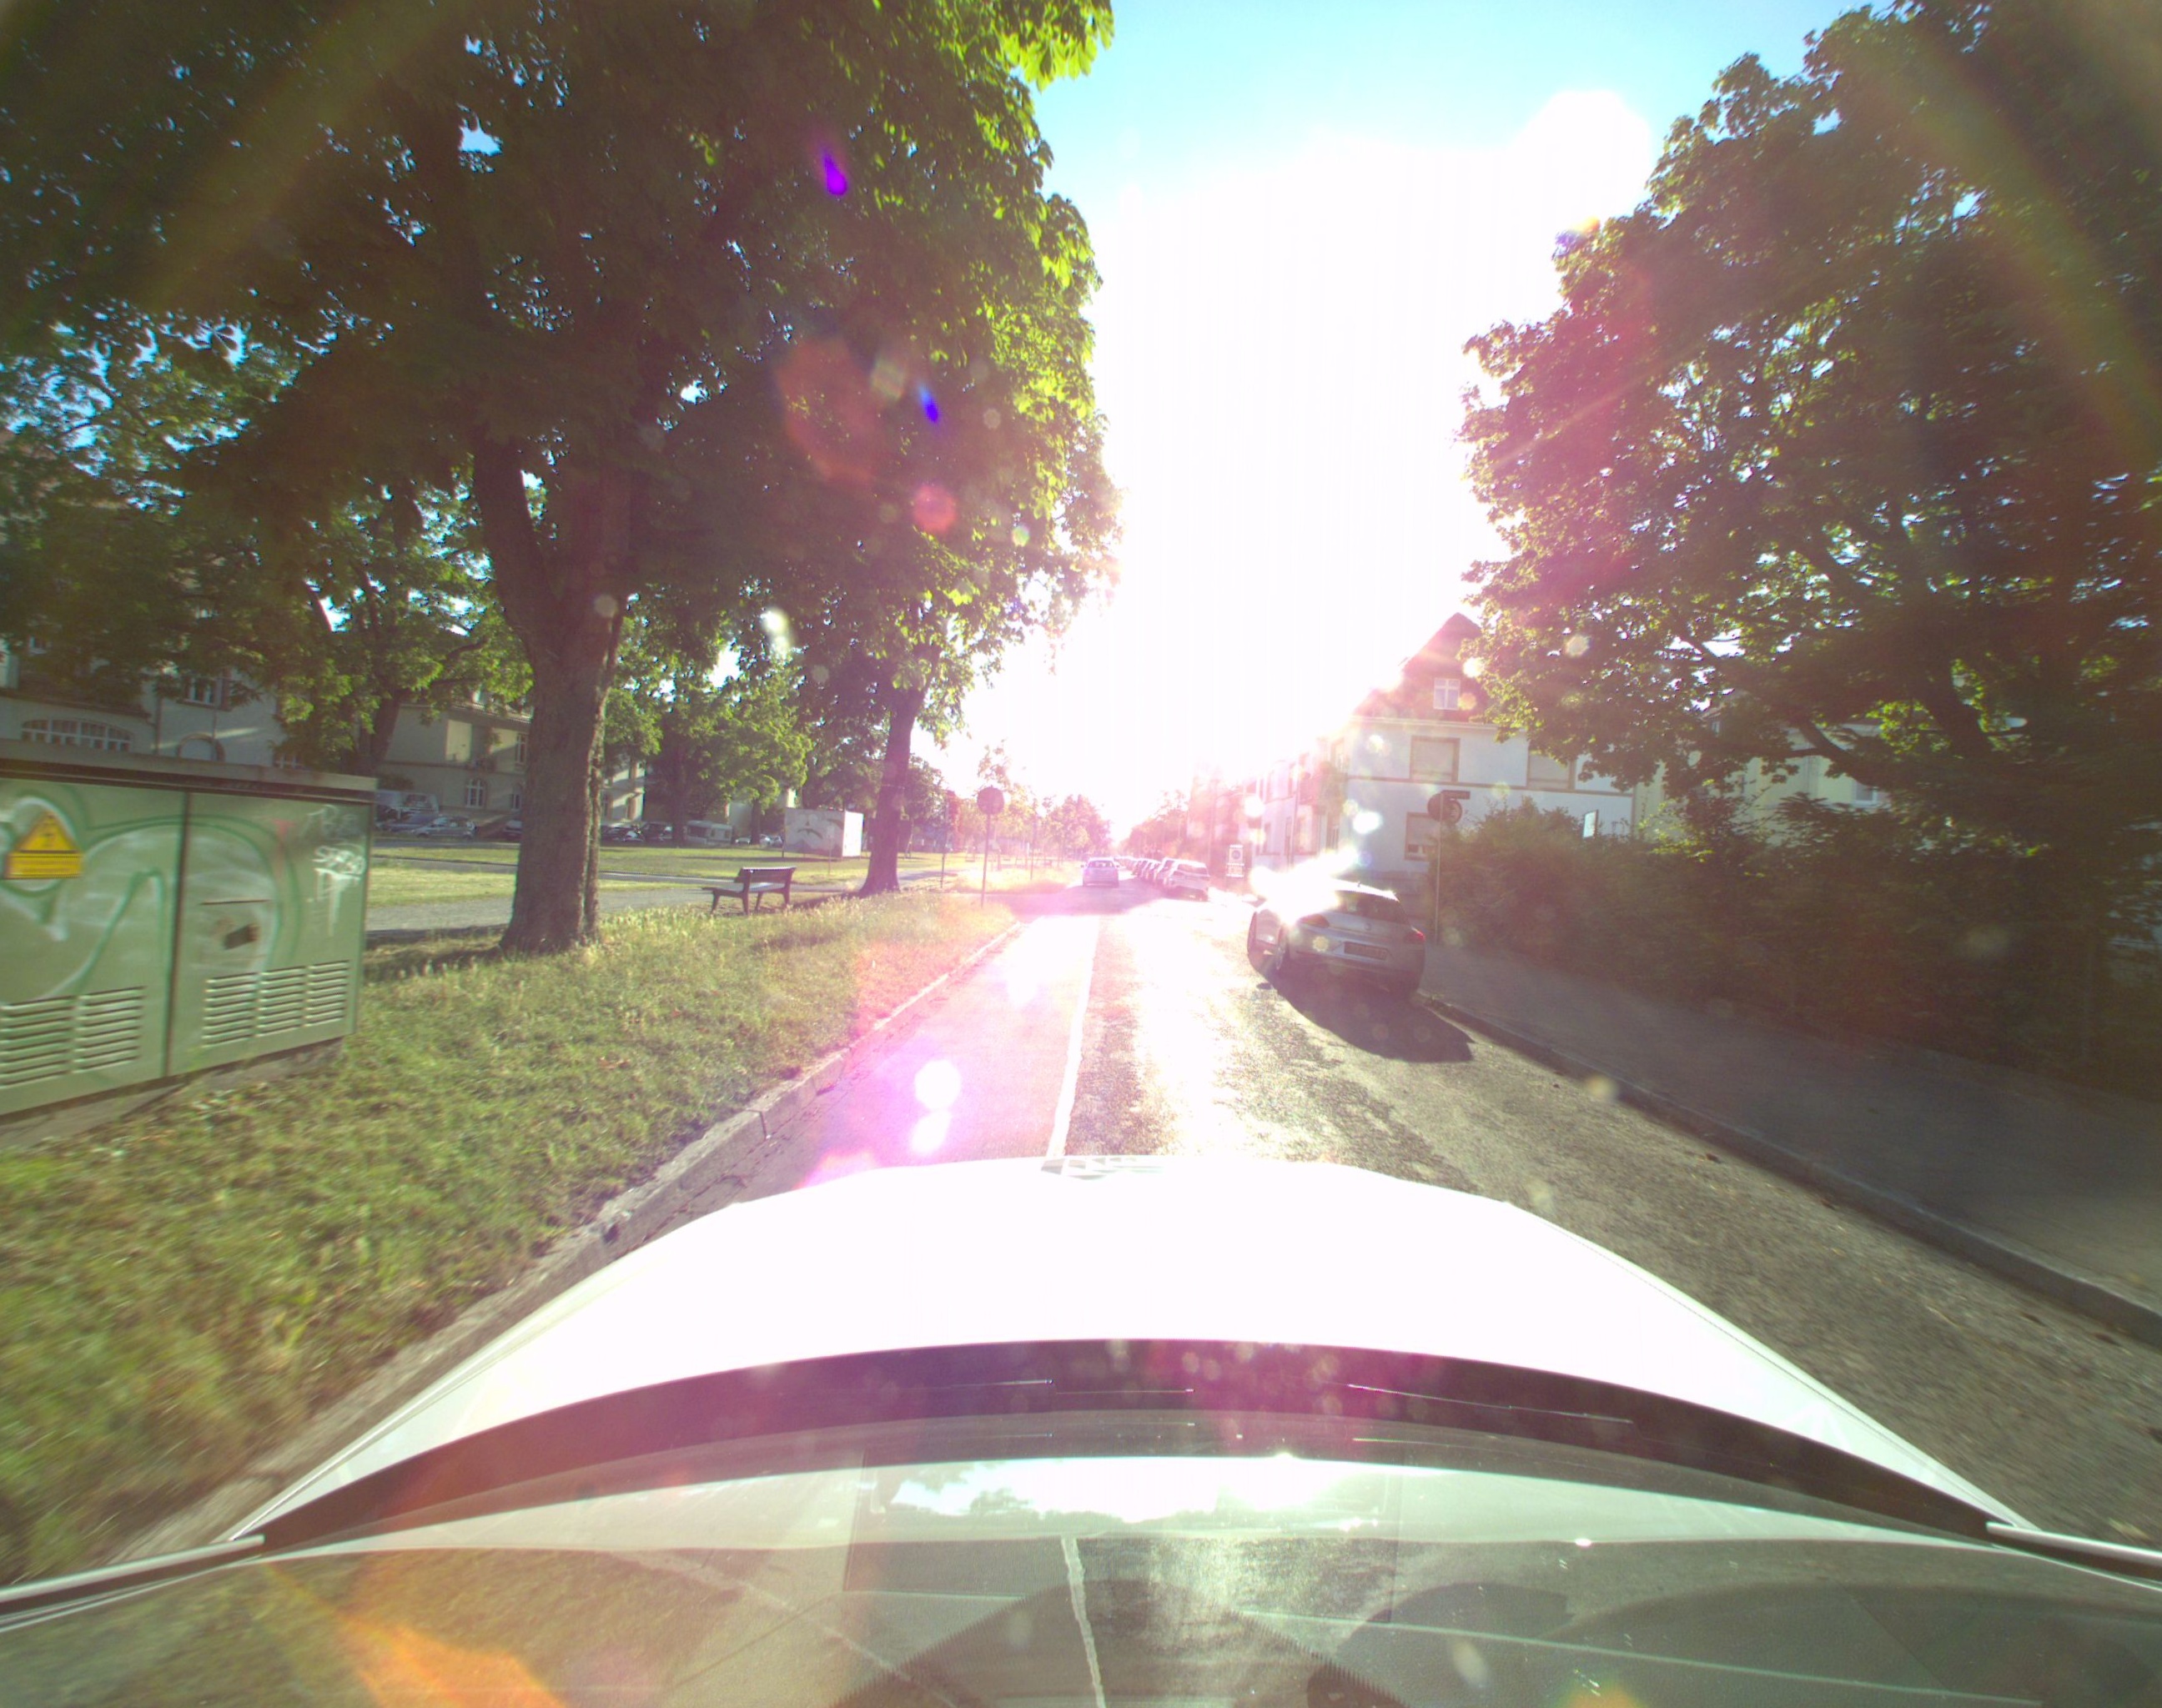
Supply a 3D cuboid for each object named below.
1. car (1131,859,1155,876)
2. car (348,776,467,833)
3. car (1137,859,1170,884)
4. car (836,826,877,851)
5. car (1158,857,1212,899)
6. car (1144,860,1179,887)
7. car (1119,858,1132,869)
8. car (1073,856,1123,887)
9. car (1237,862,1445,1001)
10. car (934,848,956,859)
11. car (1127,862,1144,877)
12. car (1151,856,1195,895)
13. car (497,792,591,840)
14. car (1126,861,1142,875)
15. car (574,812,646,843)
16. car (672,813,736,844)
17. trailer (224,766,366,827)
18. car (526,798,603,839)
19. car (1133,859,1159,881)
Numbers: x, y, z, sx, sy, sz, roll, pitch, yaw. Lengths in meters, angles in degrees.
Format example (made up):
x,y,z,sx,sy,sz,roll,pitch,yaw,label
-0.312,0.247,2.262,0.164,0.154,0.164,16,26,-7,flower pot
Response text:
x,y,z,sx,sy,sz,roll,pitch,yaw,label
5.798,1.268,76.513,1.985,1.464,4.003,4,-1,3,car
-37.771,-2.705,45.887,1.986,2.672,5.190,4,-1,3,car
4.915,1.164,55.665,1.755,1.420,4.000,7,0,1,car
-29.917,-2.026,108.879,3.147,2.993,6.898,2,-1,3,car
4.446,0.986,35.405,1.752,1.605,4.359,4,0,1,car
4.928,1.173,50.199,1.755,1.420,4.001,4,0,1,car
7.497,1.591,137.167,1.972,1.683,4.003,4,-1,3,car
0.785,0.834,40.564,1.761,1.420,3.986,1,-1,-10,car
3.587,0.974,12.061,1.750,1.419,4.074,10,0,3,car
-28.232,-0.135,169.309,3.147,2.148,6.114,2,-1,3,car
6.884,1.940,102.363,1.985,1.629,4.003,4,-1,3,car
4.604,1.063,41.135,1.679,1.650,4.101,9,0,2,car
-37.347,-2.571,56.897,2.428,2.922,5.820,2,-1,2,car
7.038,1.878,108.837,1.985,1.629,4.003,4,-1,3,car
-31.746,-1.758,55.075,1.985,1.793,4.488,4,-1,3,car
-31.405,-2.086,68.064,2.524,2.236,5.462,4,0,2,car
-38.000,-2.708,39.571,1.986,2.428,4.726,4,-1,3,trailer
-31.745,-2.157,50.235,1.678,2.176,4.317,4,-1,3,car
5.228,1.270,65.847,1.755,1.521,4.000,6,-1,1,car
